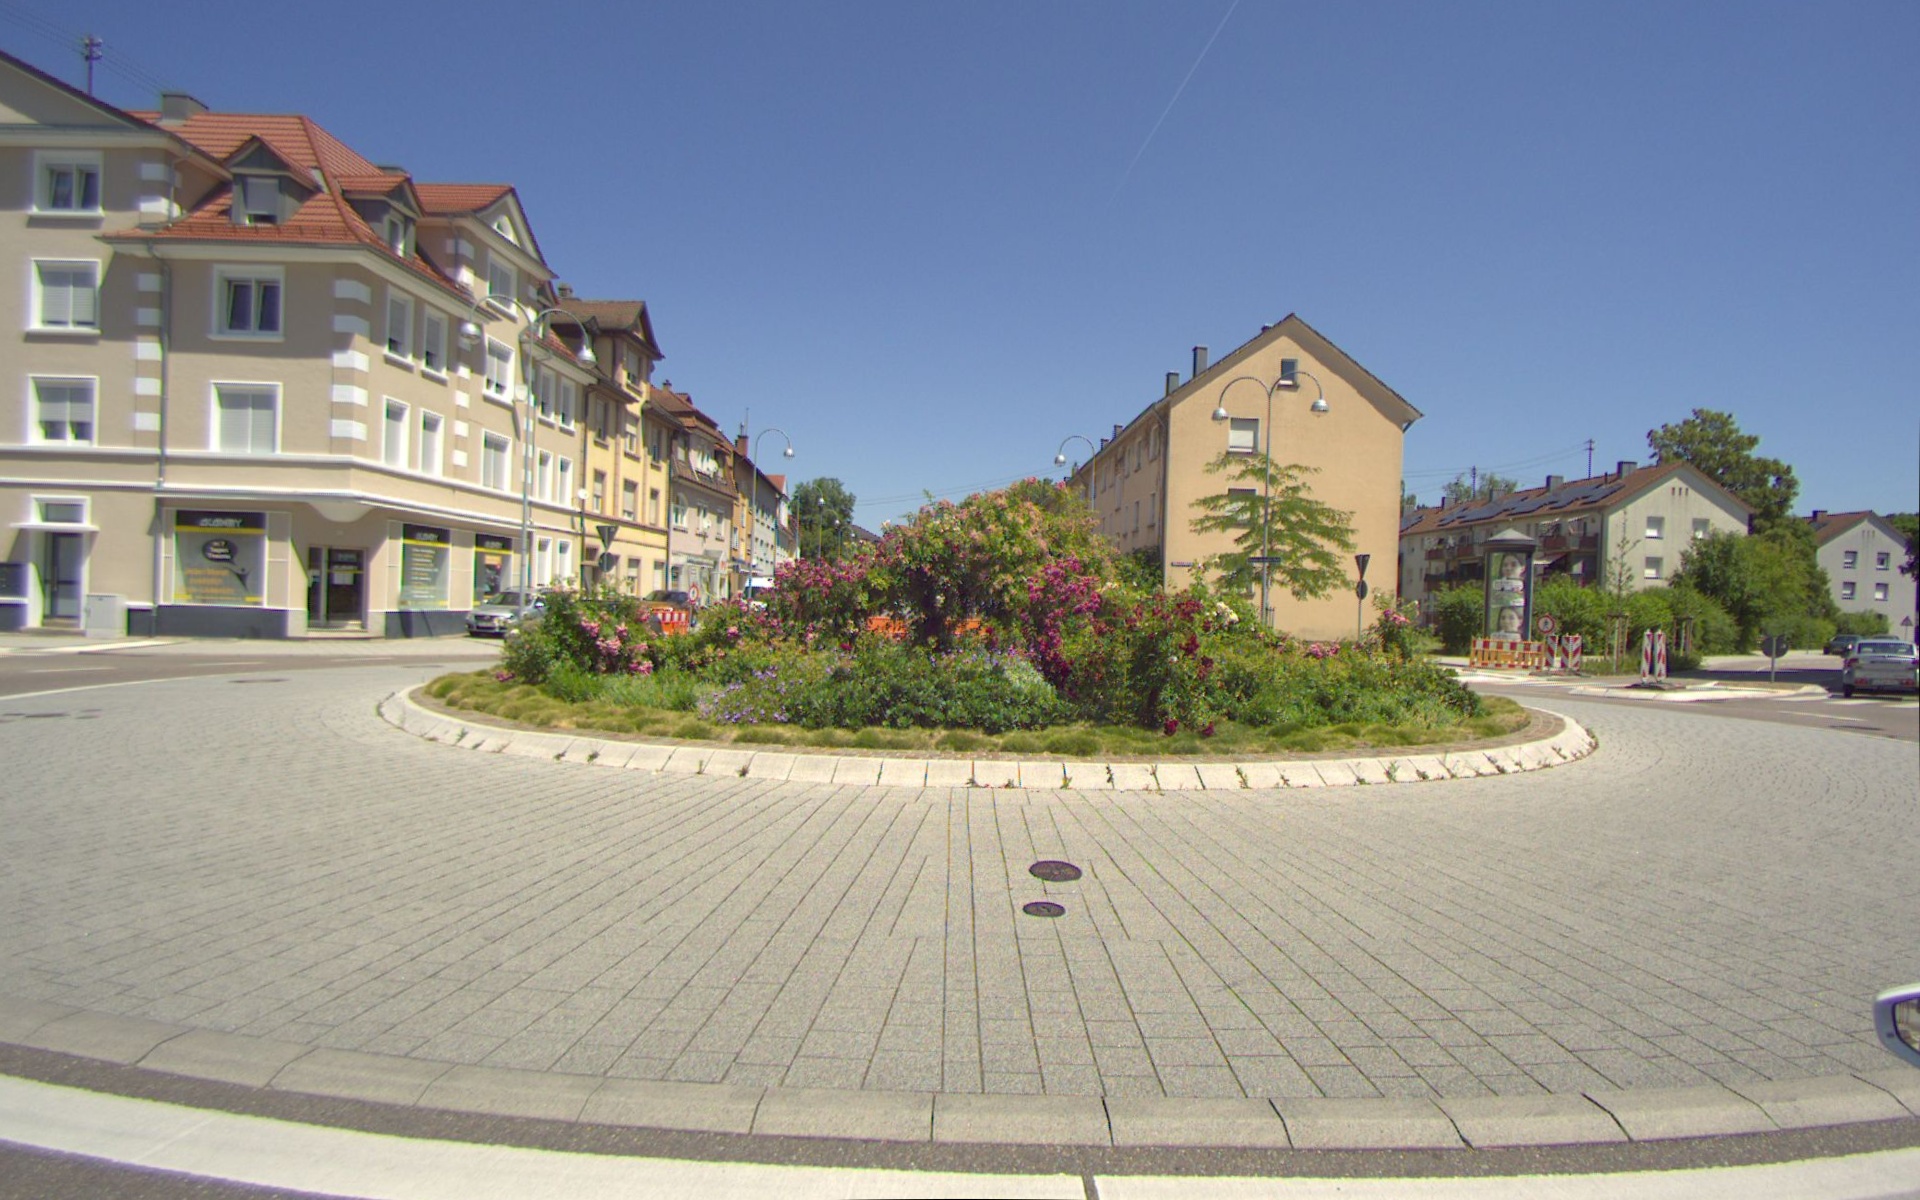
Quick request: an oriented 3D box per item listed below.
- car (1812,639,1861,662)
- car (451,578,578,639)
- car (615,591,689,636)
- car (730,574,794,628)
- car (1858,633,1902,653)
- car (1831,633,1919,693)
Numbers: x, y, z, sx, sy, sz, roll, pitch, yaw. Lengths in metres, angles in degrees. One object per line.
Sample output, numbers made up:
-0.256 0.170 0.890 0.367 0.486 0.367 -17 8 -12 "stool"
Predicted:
59.961 3.452 68.694 3.673 1.455 1.727 1 -1 -35 "car"
-13.877 0.257 31.633 1.746 1.708 4.695 2 0 2 "car"
-12.616 0.547 41.398 1.572 1.638 4.092 4 0 2 "car"
-10.512 0.066 53.861 2.109 2.566 6.237 4 0 0 "car"
69.568 3.222 75.926 3.673 1.455 1.727 1 -1 -35 "car"
24.515 1.636 26.880 1.718 1.455 3.694 0 -1 39 "car"
